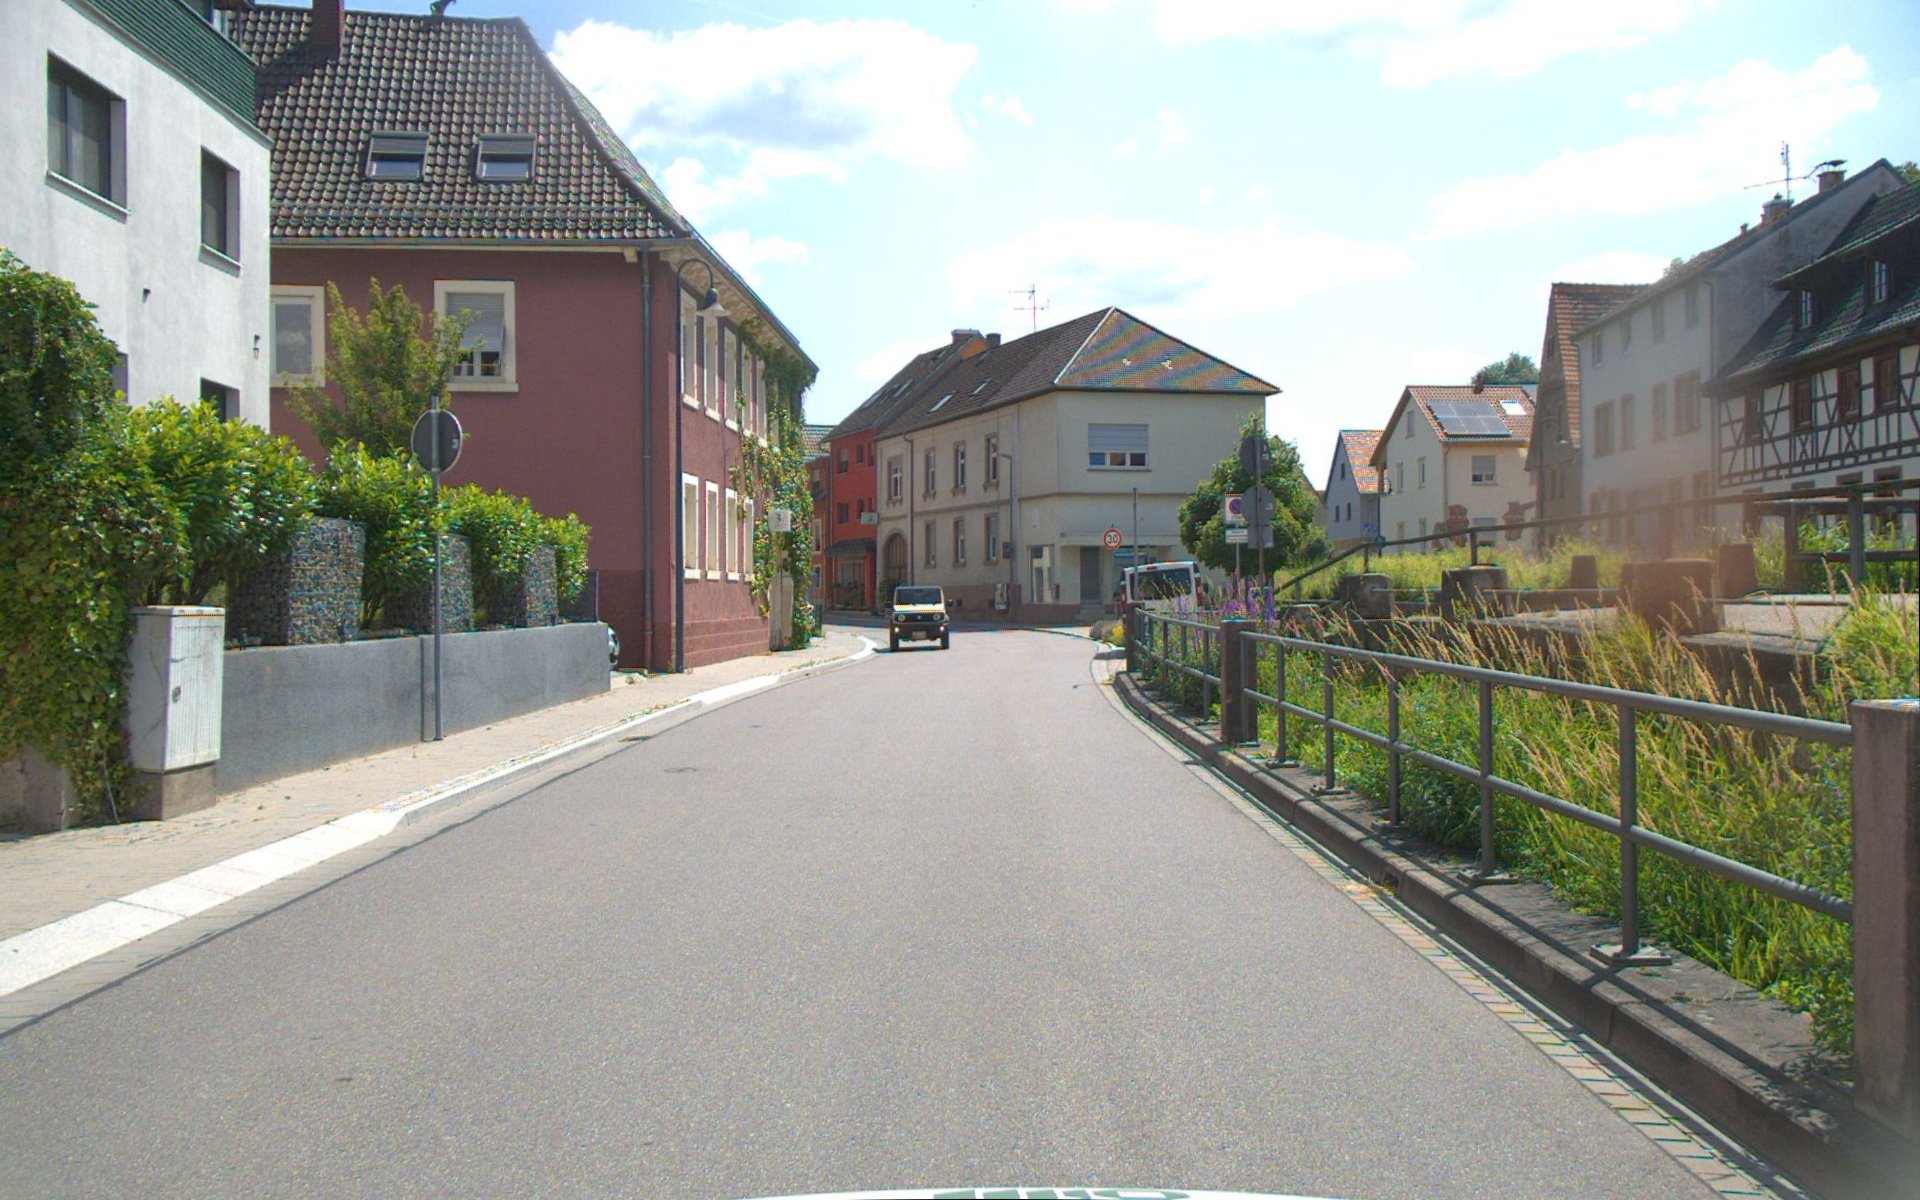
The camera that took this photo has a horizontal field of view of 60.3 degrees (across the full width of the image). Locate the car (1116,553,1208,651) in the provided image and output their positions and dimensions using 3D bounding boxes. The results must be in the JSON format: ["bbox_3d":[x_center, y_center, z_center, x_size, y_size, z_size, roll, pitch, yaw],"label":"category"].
[{"bbox_3d":[4.456,0.023,36.869,1.858,2.015,3.116,-3,0,5],"label":"car"}]

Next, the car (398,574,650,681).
[{"bbox_3d":[-6.915,0.422,26.461,3.491,1.430,1.652,4,0,2],"label":"car"}]

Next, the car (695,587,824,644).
[{"bbox_3d":[-6.296,0.499,51.640,1.986,1.557,3.933,0,-3,-45],"label":"car"}]

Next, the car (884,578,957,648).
[{"bbox_3d":[-1.039,0.329,45.144,1.587,1.749,3.475,-3,0,4],"label":"car"}]
